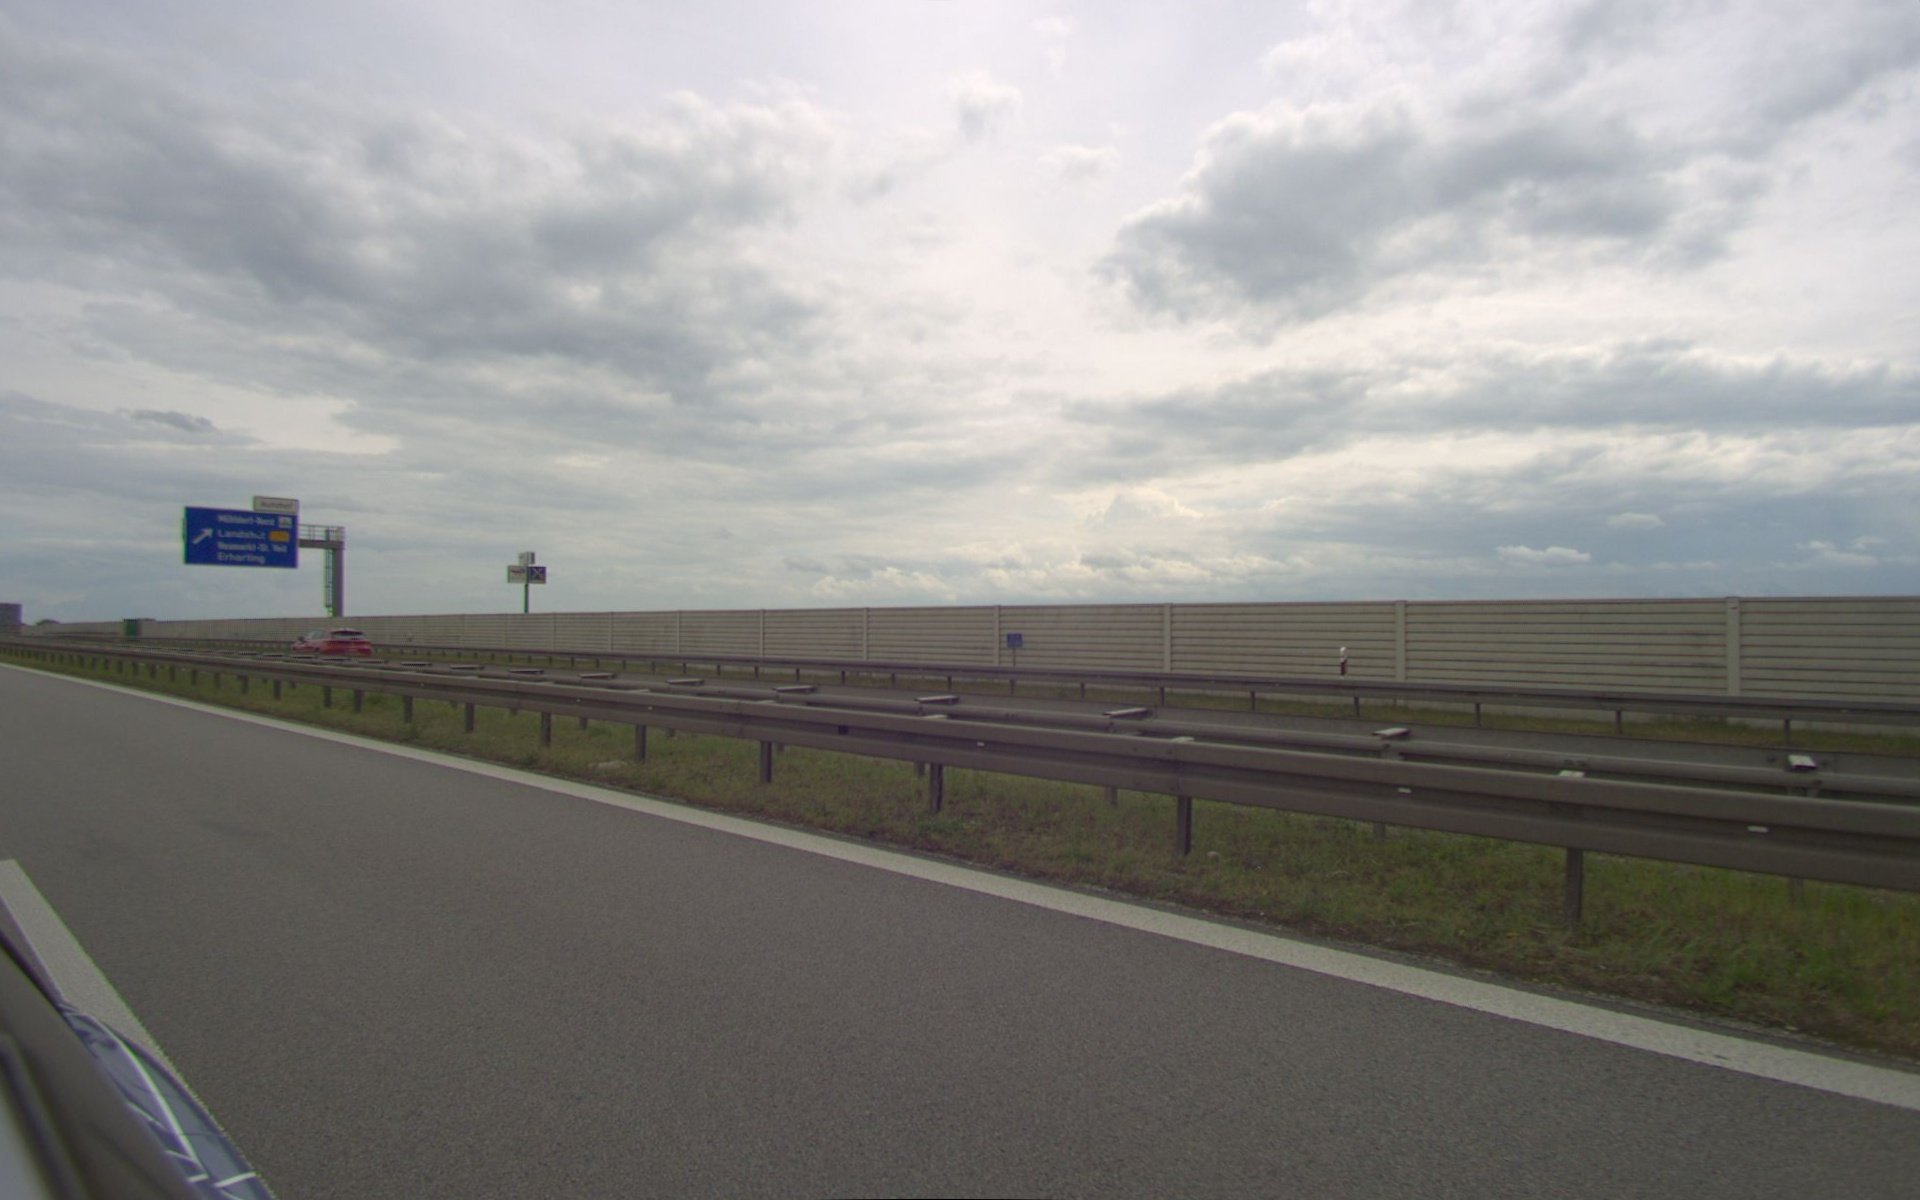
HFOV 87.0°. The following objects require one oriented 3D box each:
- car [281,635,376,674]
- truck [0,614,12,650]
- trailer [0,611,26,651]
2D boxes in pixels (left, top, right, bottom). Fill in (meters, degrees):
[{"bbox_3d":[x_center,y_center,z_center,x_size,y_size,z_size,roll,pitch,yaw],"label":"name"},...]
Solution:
[{"bbox_3d":[-24.681,2.089,39.497,4.874,1.414,1.798,-2,-3,42],"label":"car"},{"bbox_3d":[-110.795,3.613,115.415,7.319,4.045,3.077,-2,-4,41],"label":"truck"},{"bbox_3d":[-106.103,3.450,111.391,14.015,4.107,3.146,-2,-4,41],"label":"trailer"}]
